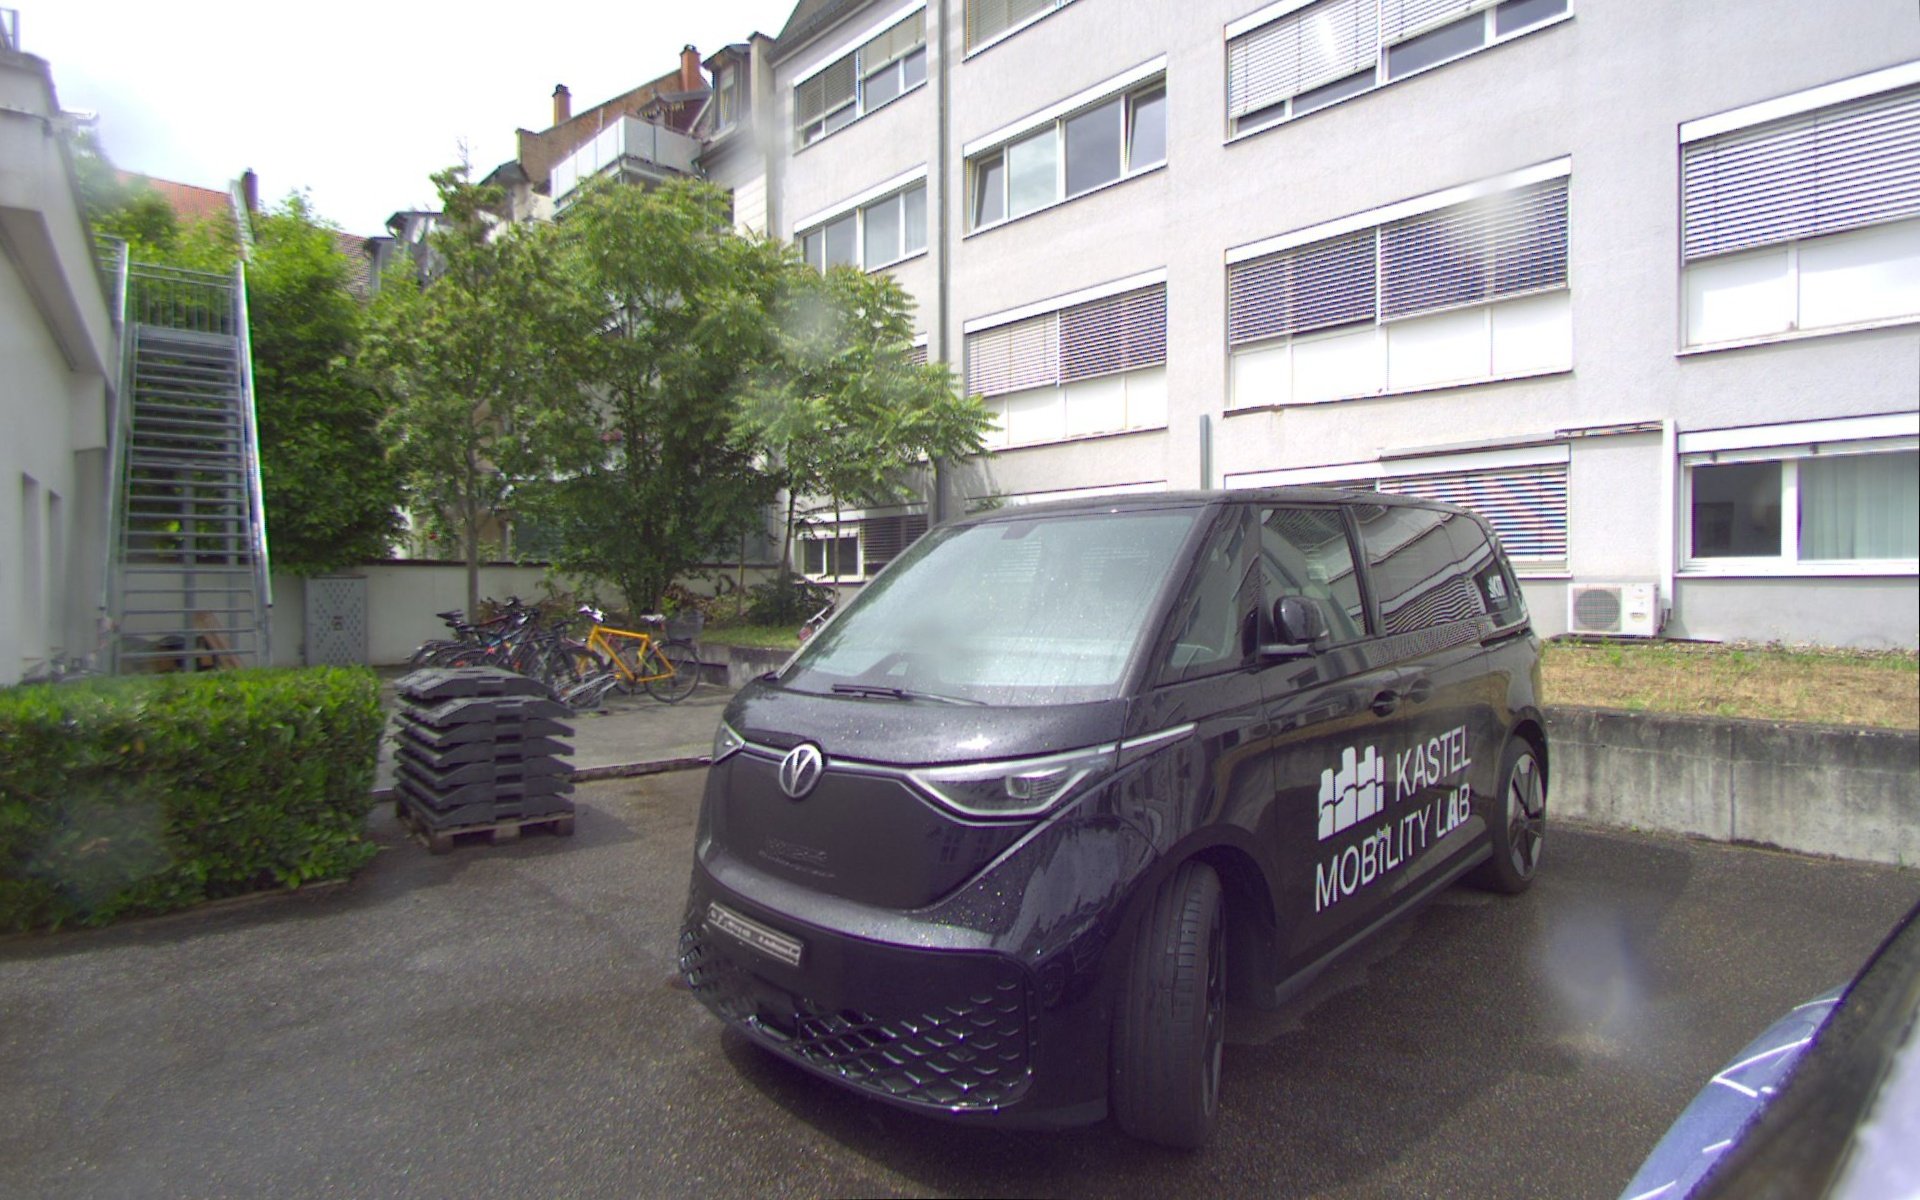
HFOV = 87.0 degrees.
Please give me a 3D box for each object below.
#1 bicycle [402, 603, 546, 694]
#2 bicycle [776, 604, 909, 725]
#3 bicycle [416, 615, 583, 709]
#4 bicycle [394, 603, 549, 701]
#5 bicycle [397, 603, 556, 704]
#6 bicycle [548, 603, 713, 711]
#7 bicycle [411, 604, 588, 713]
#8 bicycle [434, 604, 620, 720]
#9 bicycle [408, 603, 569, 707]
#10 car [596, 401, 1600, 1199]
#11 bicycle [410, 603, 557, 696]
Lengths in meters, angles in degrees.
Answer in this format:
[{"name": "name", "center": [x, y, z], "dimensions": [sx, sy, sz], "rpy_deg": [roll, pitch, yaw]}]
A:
[{"name": "bicycle", "center": [-6.446, 0.608, 13.490], "dimensions": [1.727, 1.117, 0.341], "rpy_deg": [-1, 1, -45]}, {"name": "bicycle", "center": [-1.262, 0.627, 10.604], "dimensions": [0.439, 1.117, 1.794], "rpy_deg": [-3, 3, -40]}, {"name": "bicycle", "center": [-5.303, 0.685, 11.744], "dimensions": [1.767, 0.979, 0.329], "rpy_deg": [-1, 1, -45]}, {"name": "bicycle", "center": [-6.066, 0.613, 12.642], "dimensions": [1.727, 1.117, 0.345], "rpy_deg": [-1, 1, -45]}, {"name": "bicycle", "center": [-5.805, 0.616, 12.232], "dimensions": [1.727, 1.117, 0.342], "rpy_deg": [-1, 1, -45]}, {"name": "bicycle", "center": [-3.710, 0.611, 11.483], "dimensions": [1.763, 1.117, 0.367], "rpy_deg": [0, 1, -37]}, {"name": "bicycle", "center": [-5.100, 0.618, 11.281], "dimensions": [1.763, 1.117, 0.354], "rpy_deg": [0, 1, -37]}, {"name": "bicycle", "center": [-4.546, 0.619, 10.692], "dimensions": [1.763, 1.117, 0.405], "rpy_deg": [0, 1, -37]}, {"name": "bicycle", "center": [-5.547, 0.615, 11.983], "dimensions": [1.727, 1.117, 0.332], "rpy_deg": [-1, 1, -45]}, {"name": "car", "center": [1.094, 0.459, 4.445], "dimensions": [1.965, 1.888, 4.673], "rpy_deg": [0, 2, 44]}, {"name": "bicycle", "center": [-6.194, 0.608, 13.236], "dimensions": [1.727, 1.117, 0.354], "rpy_deg": [-1, 1, -45]}]
